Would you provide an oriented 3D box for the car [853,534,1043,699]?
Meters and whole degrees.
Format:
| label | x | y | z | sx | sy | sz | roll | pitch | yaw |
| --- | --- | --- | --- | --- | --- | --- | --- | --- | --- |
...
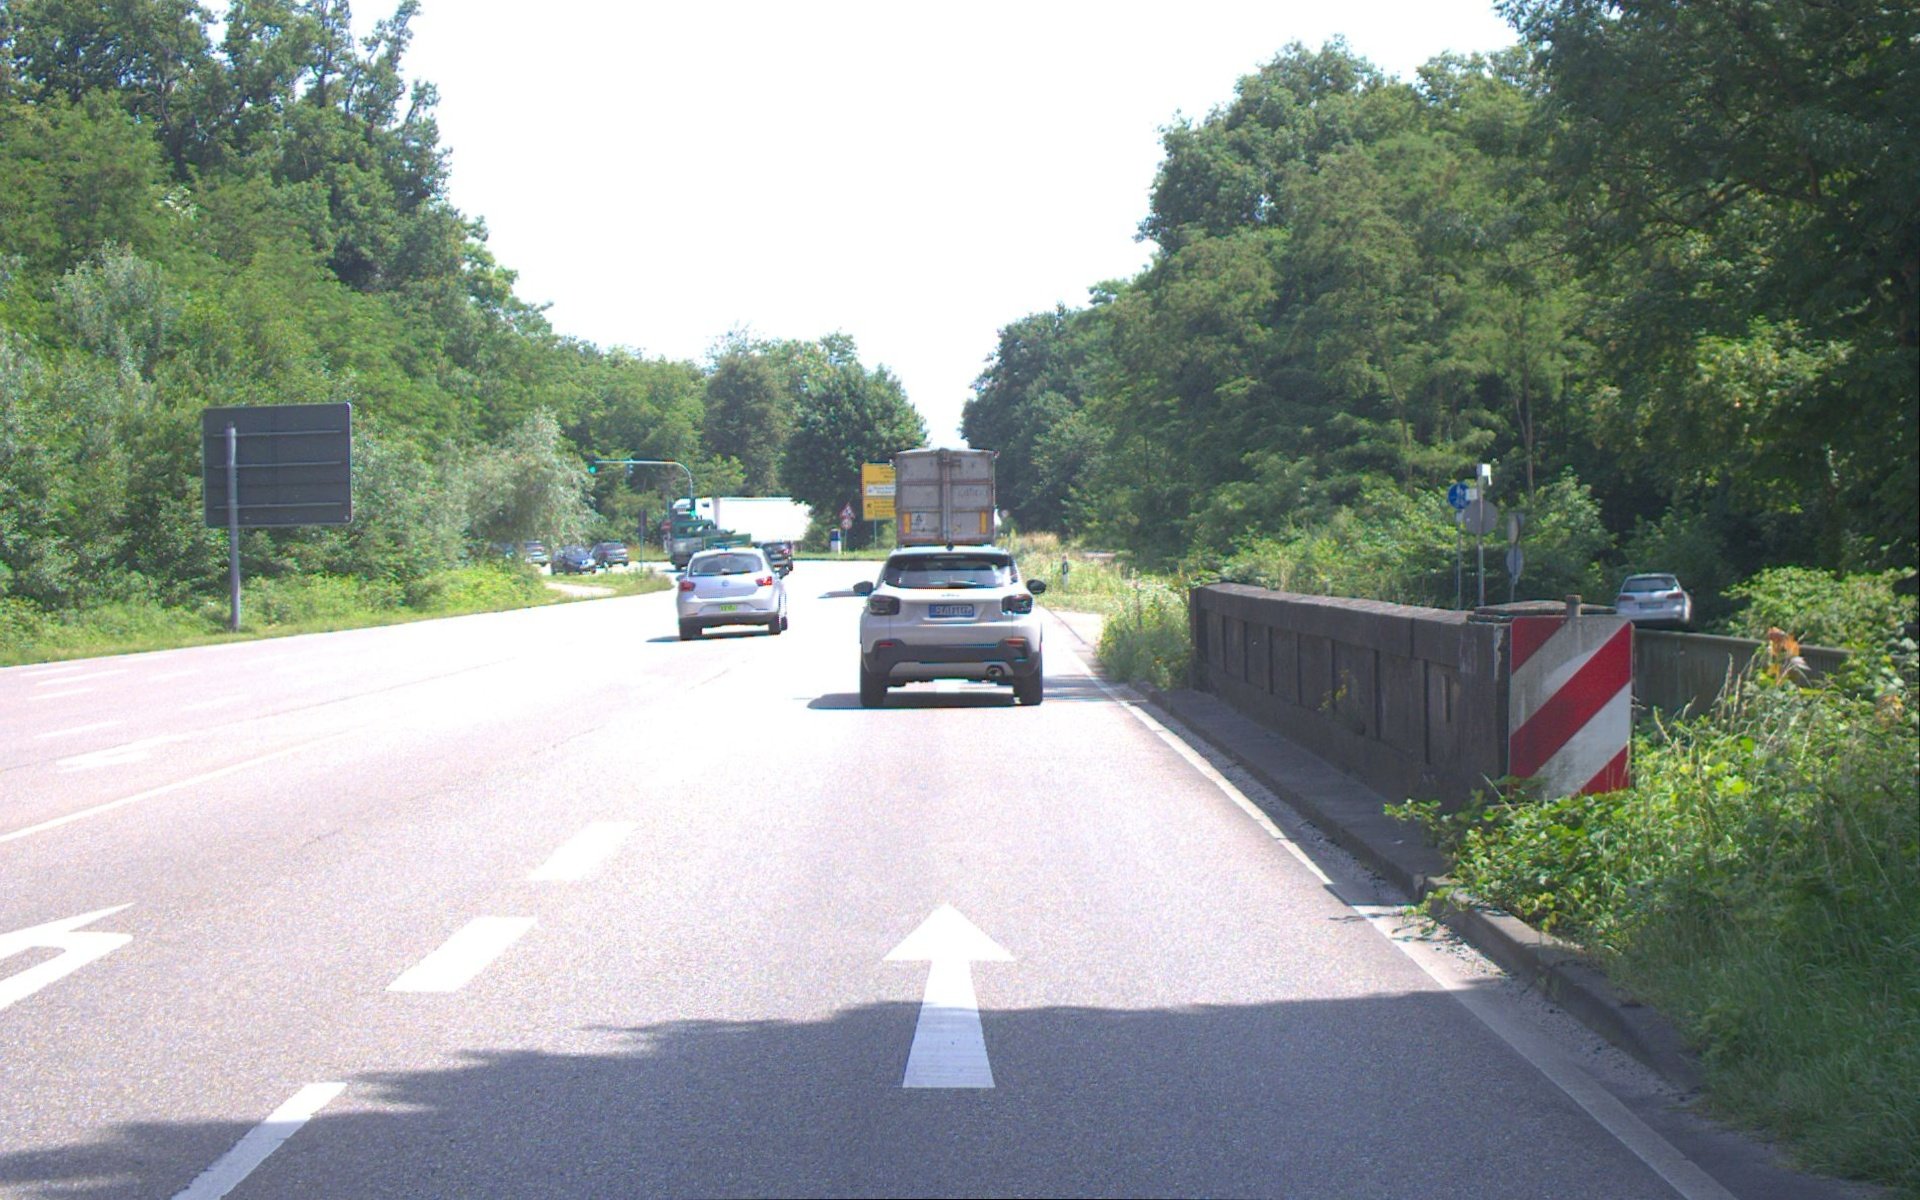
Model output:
| label | x | y | z | sx | sy | sz | roll | pitch | yaw |
| --- | --- | --- | --- | --- | --- | --- | --- | --- | --- |
| car | -0.089 | 0.122 | 34.318 | 1.767 | 1.529 | 4.000 | -1 | 1 | 1 |

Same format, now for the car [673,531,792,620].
| label | x | y | z | sx | sy | sz | roll | pitch | yaw |
| --- | --- | --- | --- | --- | --- | --- | --- | --- | --- |
| car | -3.727 | -0.423 | 56.759 | 1.666 | 1.425 | 3.828 | 0 | 1 | 1 |

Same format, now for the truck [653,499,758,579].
| label | x | y | z | sx | sy | sz | roll | pitch | yaw |
| --- | --- | --- | --- | --- | --- | --- | --- | --- | --- |
| truck | -13.439 | -3.171 | 180.502 | 3.645 | 4.091 | 9.512 | 0 | 0 | -16 |

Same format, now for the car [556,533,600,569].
| label | x | y | z | sx | sy | sz | roll | pitch | yaw |
| --- | --- | --- | --- | --- | --- | --- | --- | --- | --- |
| car | -21.064 | -2.666 | 189.347 | 1.993 | 1.875 | 4.001 | -3 | 1 | -11 |

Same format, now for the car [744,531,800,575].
| label | x | y | z | sx | sy | sz | roll | pitch | yaw |
| --- | --- | --- | --- | --- | --- | --- | --- | --- | --- |
| car | -8.984 | -2.224 | 163.717 | 1.993 | 2.007 | 4.555 | -2 | 1 | -11 |

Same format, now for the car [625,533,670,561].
| label | x | y | z | sx | sy | sz | roll | pitch | yaw |
| --- | --- | --- | --- | --- | --- | --- | --- | --- | --- |
| car | -17.950 | -3.030 | 197.123 | 1.993 | 1.579 | 4.001 | 0 | 0 | -14 |

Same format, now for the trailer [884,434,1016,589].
| label | x | y | z | sx | sy | sz | roll | pitch | yaw |
| --- | --- | --- | --- | --- | --- | --- | --- | --- | --- |
| trailer | -0.272 | -2.319 | 93.551 | 3.382 | 3.975 | 10.804 | 0 | 0 | 0 |
